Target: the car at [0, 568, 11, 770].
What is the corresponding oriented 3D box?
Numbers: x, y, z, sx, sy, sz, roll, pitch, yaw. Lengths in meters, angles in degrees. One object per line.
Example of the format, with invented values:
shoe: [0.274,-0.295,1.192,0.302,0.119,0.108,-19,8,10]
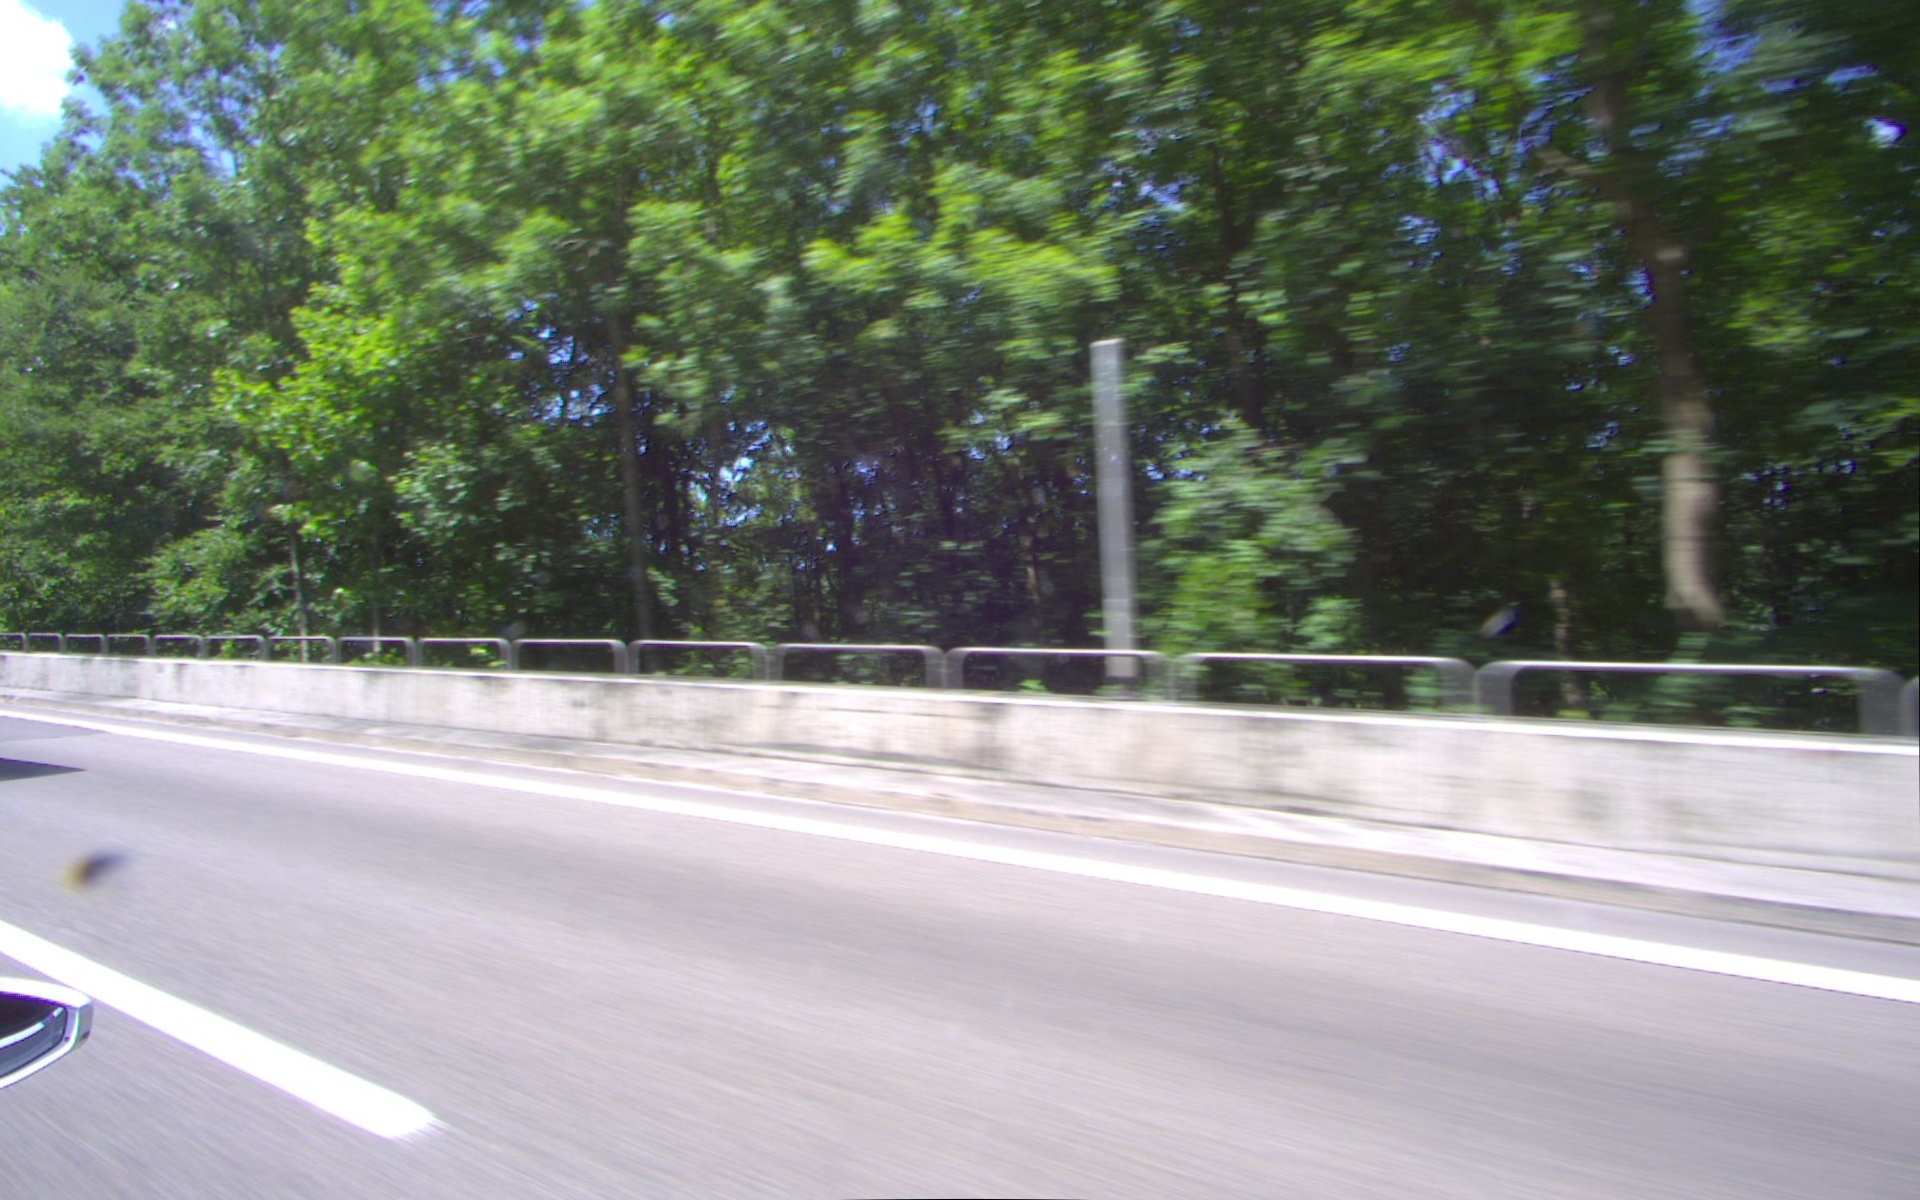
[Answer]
car: [-11.751,0.670,10.015,4.621,1.956,1.939,0,-1,28]
